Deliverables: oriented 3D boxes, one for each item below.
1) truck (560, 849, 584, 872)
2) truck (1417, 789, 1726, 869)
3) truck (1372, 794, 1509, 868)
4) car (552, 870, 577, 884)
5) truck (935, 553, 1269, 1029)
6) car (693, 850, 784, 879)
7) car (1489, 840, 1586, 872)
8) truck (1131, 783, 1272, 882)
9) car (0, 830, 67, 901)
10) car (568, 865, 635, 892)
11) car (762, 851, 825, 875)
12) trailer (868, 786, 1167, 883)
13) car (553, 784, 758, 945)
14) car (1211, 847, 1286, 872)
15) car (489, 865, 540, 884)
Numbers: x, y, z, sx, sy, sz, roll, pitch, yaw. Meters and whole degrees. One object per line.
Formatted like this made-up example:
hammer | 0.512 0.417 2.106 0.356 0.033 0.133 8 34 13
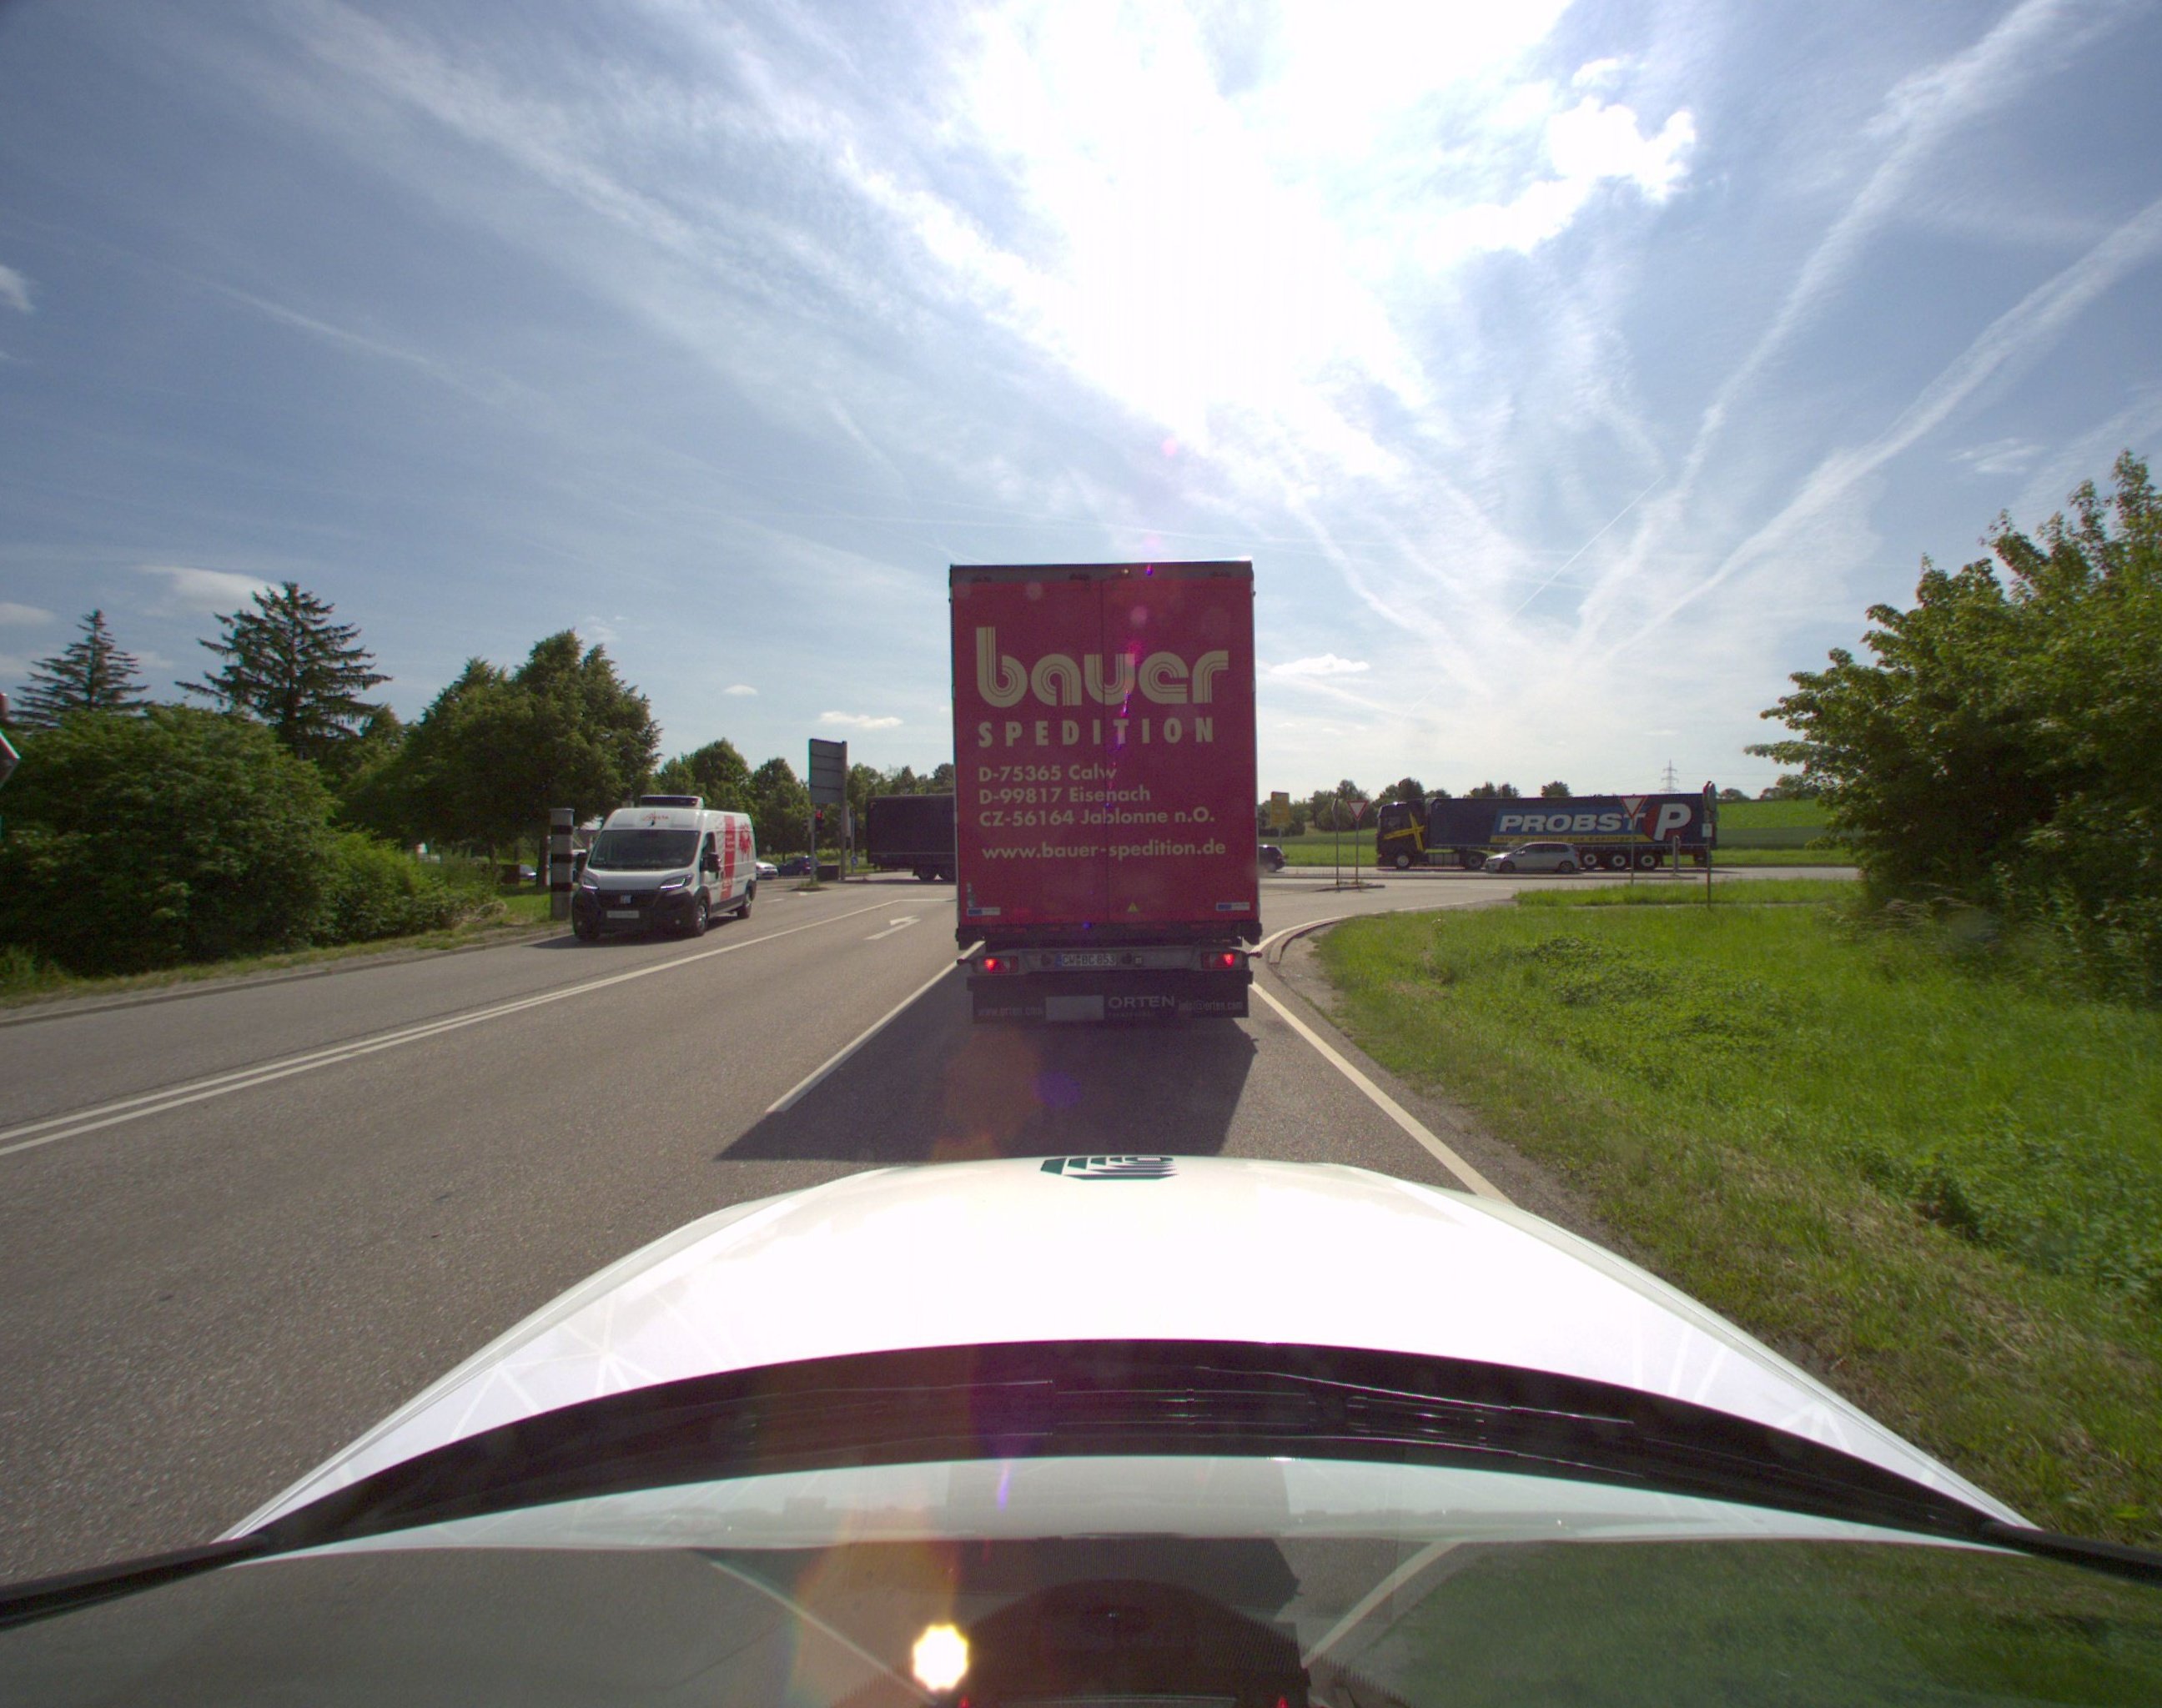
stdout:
truck | -87.986 1.137 140.958 2.954 3.798 7.855 0 0 -28
truck | 26.093 -1.252 44.537 14.161 3.979 3.043 0 1 20
truck | 20.339 -1.246 46.572 6.875 3.993 3.041 0 1 17
car | -53.813 2.378 84.874 2.008 1.429 3.957 0 -1 -35
truck | 0.405 -0.581 15.086 2.724 3.925 16.631 -1 0 2
car | -17.796 0.522 42.339 4.211 1.461 1.819 0 1 20
car | 22.719 0.123 40.644 3.964 1.491 1.544 -1 -1 16
truck | 5.284 -0.880 35.313 5.785 4.061 2.808 0 1 13
car | -35.110 0.340 24.973 4.601 2.180 1.985 0 0 -22
car | -28.194 1.399 47.875 3.996 1.416 1.807 0 1 34
car | -19.550 0.587 55.378 4.060 1.547 1.885 0 0 31
trailer | -3.021 -0.813 37.511 13.578 4.061 2.811 0 1 17
car | -8.289 0.139 16.630 2.119 2.654 5.962 0 1 -12
car | 9.290 0.304 45.053 3.960 1.310 1.772 -1 -1 12
car | -40.963 1.438 58.864 4.225 1.305 1.753 0 0 36
